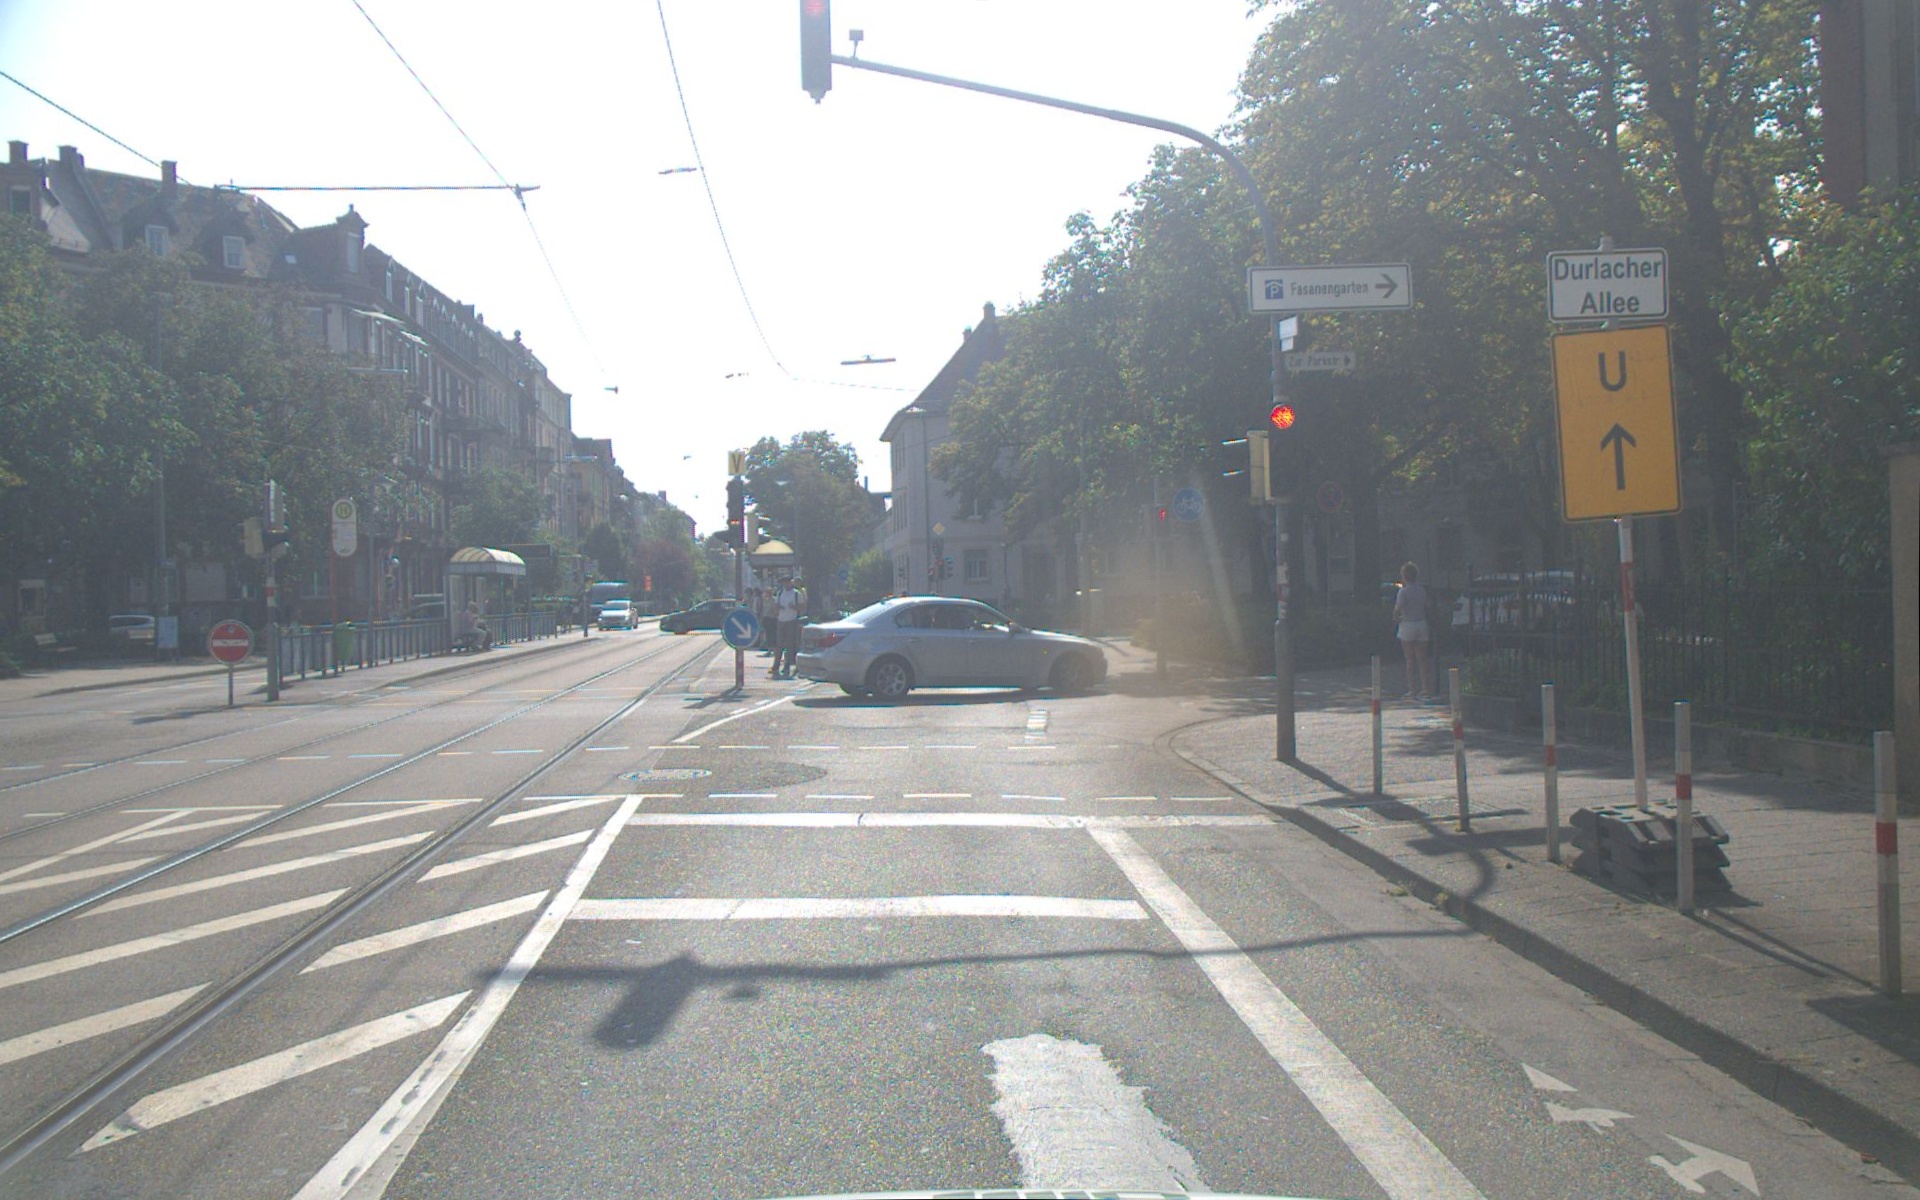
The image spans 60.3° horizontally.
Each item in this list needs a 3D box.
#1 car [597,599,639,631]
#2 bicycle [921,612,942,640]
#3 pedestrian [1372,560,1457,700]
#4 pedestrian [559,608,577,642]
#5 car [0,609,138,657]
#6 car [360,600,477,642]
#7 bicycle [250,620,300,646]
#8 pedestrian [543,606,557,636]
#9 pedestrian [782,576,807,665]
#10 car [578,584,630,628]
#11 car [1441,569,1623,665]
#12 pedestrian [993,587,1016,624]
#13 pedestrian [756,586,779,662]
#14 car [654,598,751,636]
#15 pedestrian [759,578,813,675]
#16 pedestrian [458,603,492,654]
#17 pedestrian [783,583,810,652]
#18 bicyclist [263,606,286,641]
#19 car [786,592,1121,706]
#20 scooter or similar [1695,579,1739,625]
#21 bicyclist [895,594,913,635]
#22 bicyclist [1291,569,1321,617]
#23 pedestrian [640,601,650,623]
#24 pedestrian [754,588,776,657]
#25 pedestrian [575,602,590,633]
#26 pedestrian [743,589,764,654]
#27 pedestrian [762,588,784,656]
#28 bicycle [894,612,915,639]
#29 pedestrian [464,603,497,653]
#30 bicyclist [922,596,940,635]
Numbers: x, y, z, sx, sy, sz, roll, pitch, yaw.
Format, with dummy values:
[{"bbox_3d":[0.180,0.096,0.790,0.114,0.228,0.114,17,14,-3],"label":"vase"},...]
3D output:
[{"bbox_3d":[-18.714,0.797,90.588,1.766,1.682,3.638,-2,0,-5],"label":"car"},{"bbox_3d":[-1.071,0.970,62.282,0.547,0.995,1.853,-2,0,-7],"label":"bicycle"},{"bbox_3d":[5.854,0.378,21.345,0.737,1.761,0.768,-1,0,-15],"label":"pedestrian"},{"bbox_3d":[-20.594,1.288,86.859,0.735,1.761,0.771,-1,0,-4],"label":"pedestrian"},{"bbox_3d":[-32.497,1.189,60.362,4.282,1.596,1.977,-2,0,-33],"label":"car"},{"bbox_3d":[-22.919,0.879,70.131,4.301,1.596,1.969,-2,0,-43],"label":"car"},{"bbox_3d":[-27.732,1.326,66.963,1.828,0.974,0.544,-2,0,-26],"label":"bicycle"},{"bbox_3d":[-24.928,1.267,100.532,0.737,1.761,0.768,-1,0,-15],"label":"pedestrian"},{"bbox_3d":[-3.531,0.431,35.248,0.494,1.866,0.533,1,2,-6],"label":"pedestrian"},{"bbox_3d":[-22.606,0.364,105.333,2.300,2.708,5.103,-1,0,-2],"label":"car"},{"bbox_3d":[11.036,0.294,31.729,1.962,1.659,4.312,-2,0,39],"label":"car"},{"bbox_3d":[2.151,0.269,80.273,0.872,1.771,0.776,-2,0,17],"label":"pedestrian"},{"bbox_3d":[-4.638,0.575,39.854,0.494,1.790,0.533,1,2,-6],"label":"pedestrian"},{"bbox_3d":[-11.581,0.763,74.609,4.240,1.596,1.997,-2,0,-7],"label":"car"},{"bbox_3d":[-3.265,0.475,30.991,0.686,1.755,0.747,2,2,27],"label":"pedestrian"},{"bbox_3d":[-13.662,0.799,46.600,0.813,1.382,0.774,-1,0,-10],"label":"pedestrian"},{"bbox_3d":[-4.352,0.458,44.099,0.695,1.790,0.533,1,2,-6],"label":"pedestrian"},{"bbox_3d":[-27.750,0.951,66.969,0.809,1.351,0.544,-2,0,-26],"label":"bicyclist"},{"bbox_3d":[-0.102,0.679,24.849,4.701,1.492,1.859,-2,0,-20],"label":"car"},{"bbox_3d":[21.870,0.056,47.773,1.048,1.218,0.459,-5,0,26],"label":"scooter or similar"},{"bbox_3d":[-2.126,0.559,62.756,0.617,1.534,0.677,-2,0,-8],"label":"bicyclist"},{"bbox_3d":[13.584,-0.274,64.927,0.969,1.889,0.491,-2,0,34],"label":"bicyclist"},{"bbox_3d":[-25.687,0.992,134.927,0.737,1.761,0.768,-1,0,-15],"label":"pedestrian"},{"bbox_3d":[-5.175,0.595,43.824,0.532,1.790,0.533,1,2,-6],"label":"pedestrian"},{"bbox_3d":[-21.628,0.989,94.725,0.737,1.761,0.768,-1,0,-15],"label":"pedestrian"},{"bbox_3d":[-5.739,0.596,46.002,0.522,1.790,0.544,1,2,-5],"label":"pedestrian"},{"bbox_3d":[-5.049,0.589,44.649,0.532,1.790,0.533,1,2,-6],"label":"pedestrian"},{"bbox_3d":[-2.122,0.956,62.757,0.617,0.995,1.767,-2,0,-7],"label":"bicycle"},{"bbox_3d":[-13.784,0.802,47.568,0.813,1.382,0.774,-1,0,-10],"label":"pedestrian"},{"bbox_3d":[-1.089,0.594,62.295,0.547,1.441,0.870,-2,0,-8],"label":"bicyclist"}]
